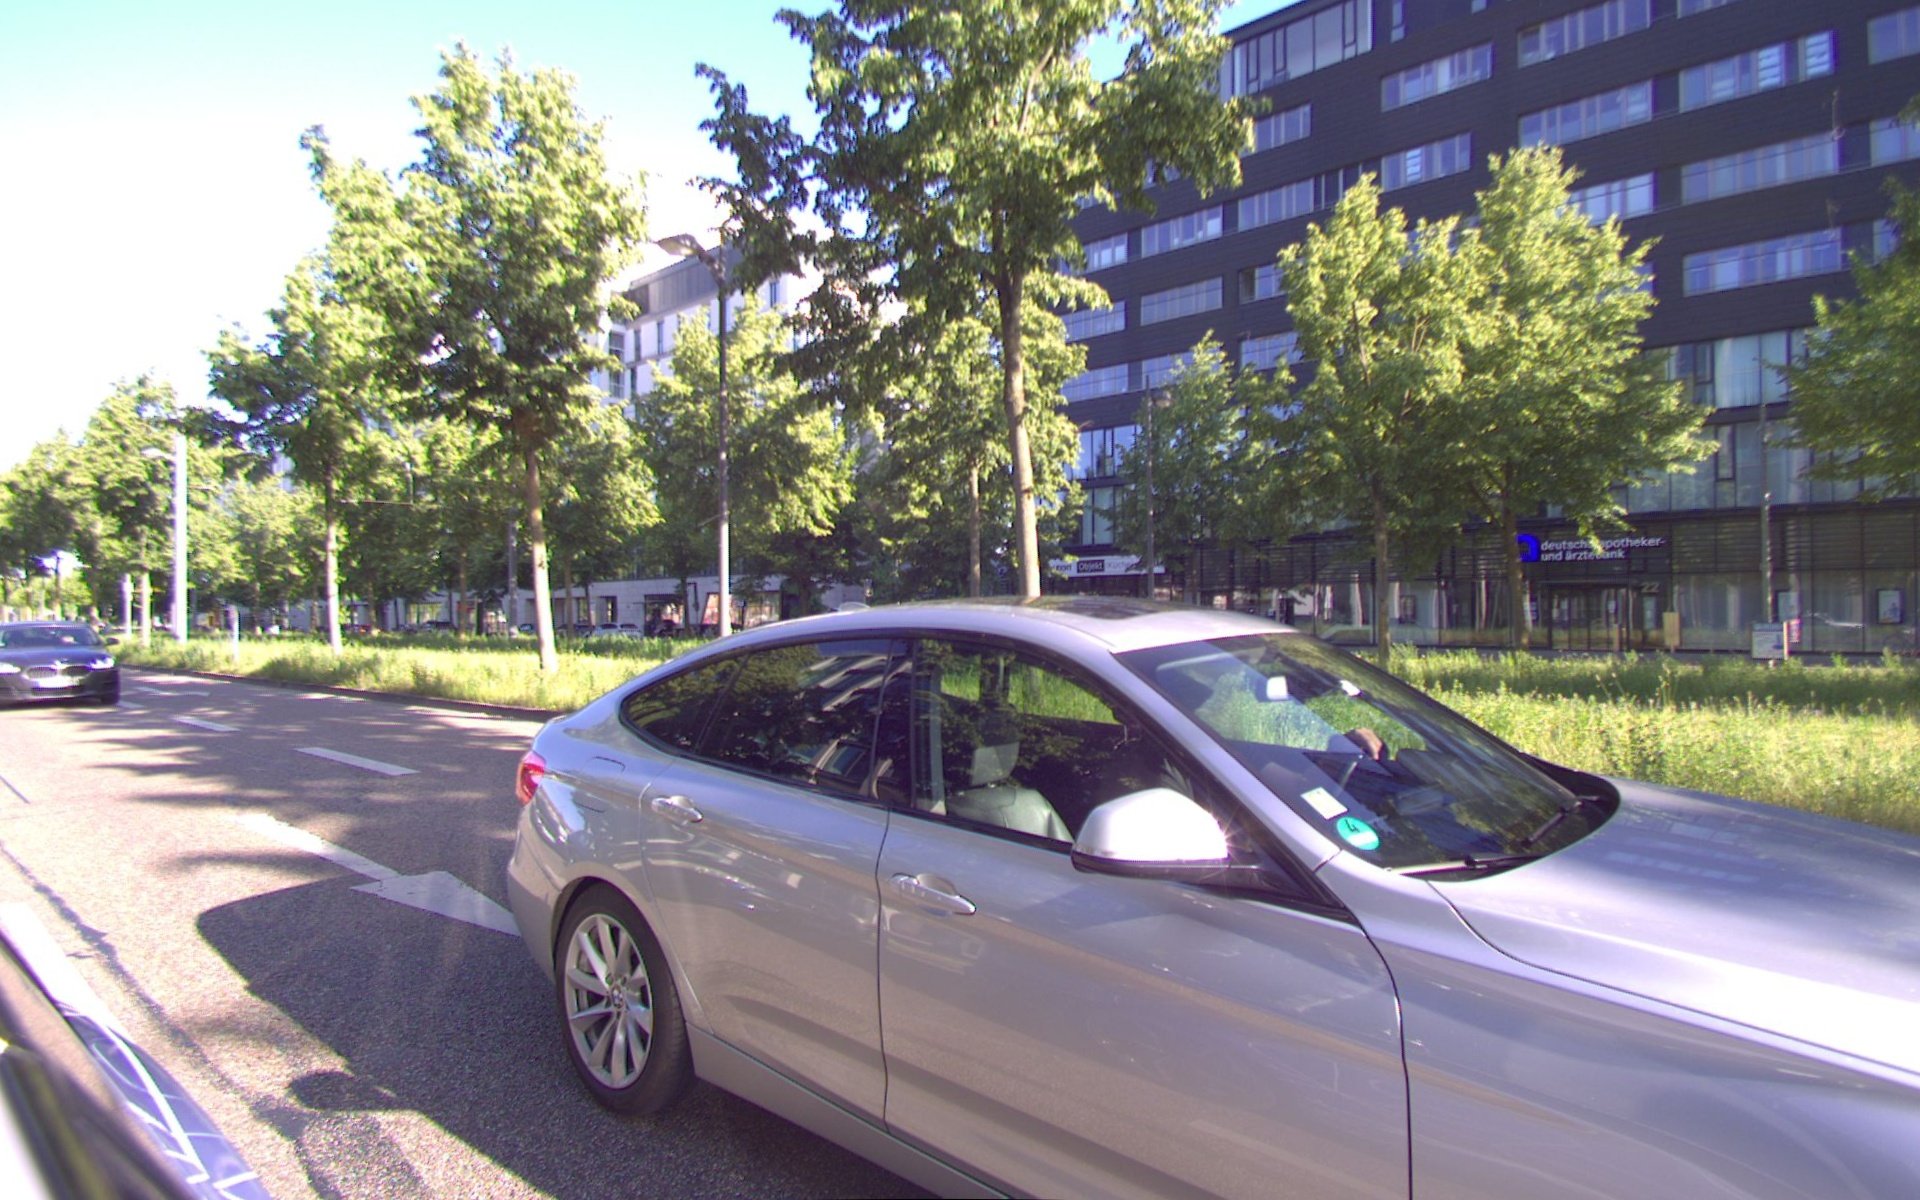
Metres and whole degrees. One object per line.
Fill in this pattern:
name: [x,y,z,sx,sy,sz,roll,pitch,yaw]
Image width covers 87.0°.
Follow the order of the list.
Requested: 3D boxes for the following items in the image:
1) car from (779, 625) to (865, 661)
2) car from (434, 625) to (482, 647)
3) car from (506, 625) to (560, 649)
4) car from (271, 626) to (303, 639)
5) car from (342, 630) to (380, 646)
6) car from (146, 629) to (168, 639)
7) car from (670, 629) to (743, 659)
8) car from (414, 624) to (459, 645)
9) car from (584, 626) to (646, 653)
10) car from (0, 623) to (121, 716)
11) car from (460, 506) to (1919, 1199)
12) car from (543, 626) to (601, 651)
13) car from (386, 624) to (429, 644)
car: [-6.768,2.072,49.381,4.182,1.609,1.926,-2,-1,41]
car: [-38.673,2.731,77.964,4.182,1.609,1.859,-2,-1,41]
car: [-29.732,2.585,70.458,4.182,1.609,1.859,-2,-1,41]
car: [-72.538,3.493,109.050,3.998,1.406,1.972,-2,-2,41]
car: [-54.452,3.475,91.975,4.001,1.406,1.971,-2,-2,44]
car: [-114.635,4.806,144.479,4.001,1.406,1.971,-2,-2,44]
car: [-14.095,2.413,56.203,4.182,1.609,1.926,-2,-1,41]
car: [-42.135,2.777,81.470,4.182,1.609,1.859,-2,-1,41]
car: [-21.516,2.458,63.080,4.182,1.609,1.859,-2,-1,41]
car: [-16.817,1.181,18.367,3.998,1.502,1.837,-1,-1,41]
car: [0.645,0.677,2.572,4.558,1.495,1.800,-1,-1,40]
car: [-25.702,2.520,67.046,4.182,1.609,1.859,-2,-1,41]
car: [-46.591,2.847,85.366,4.182,1.609,1.859,-2,-1,41]
